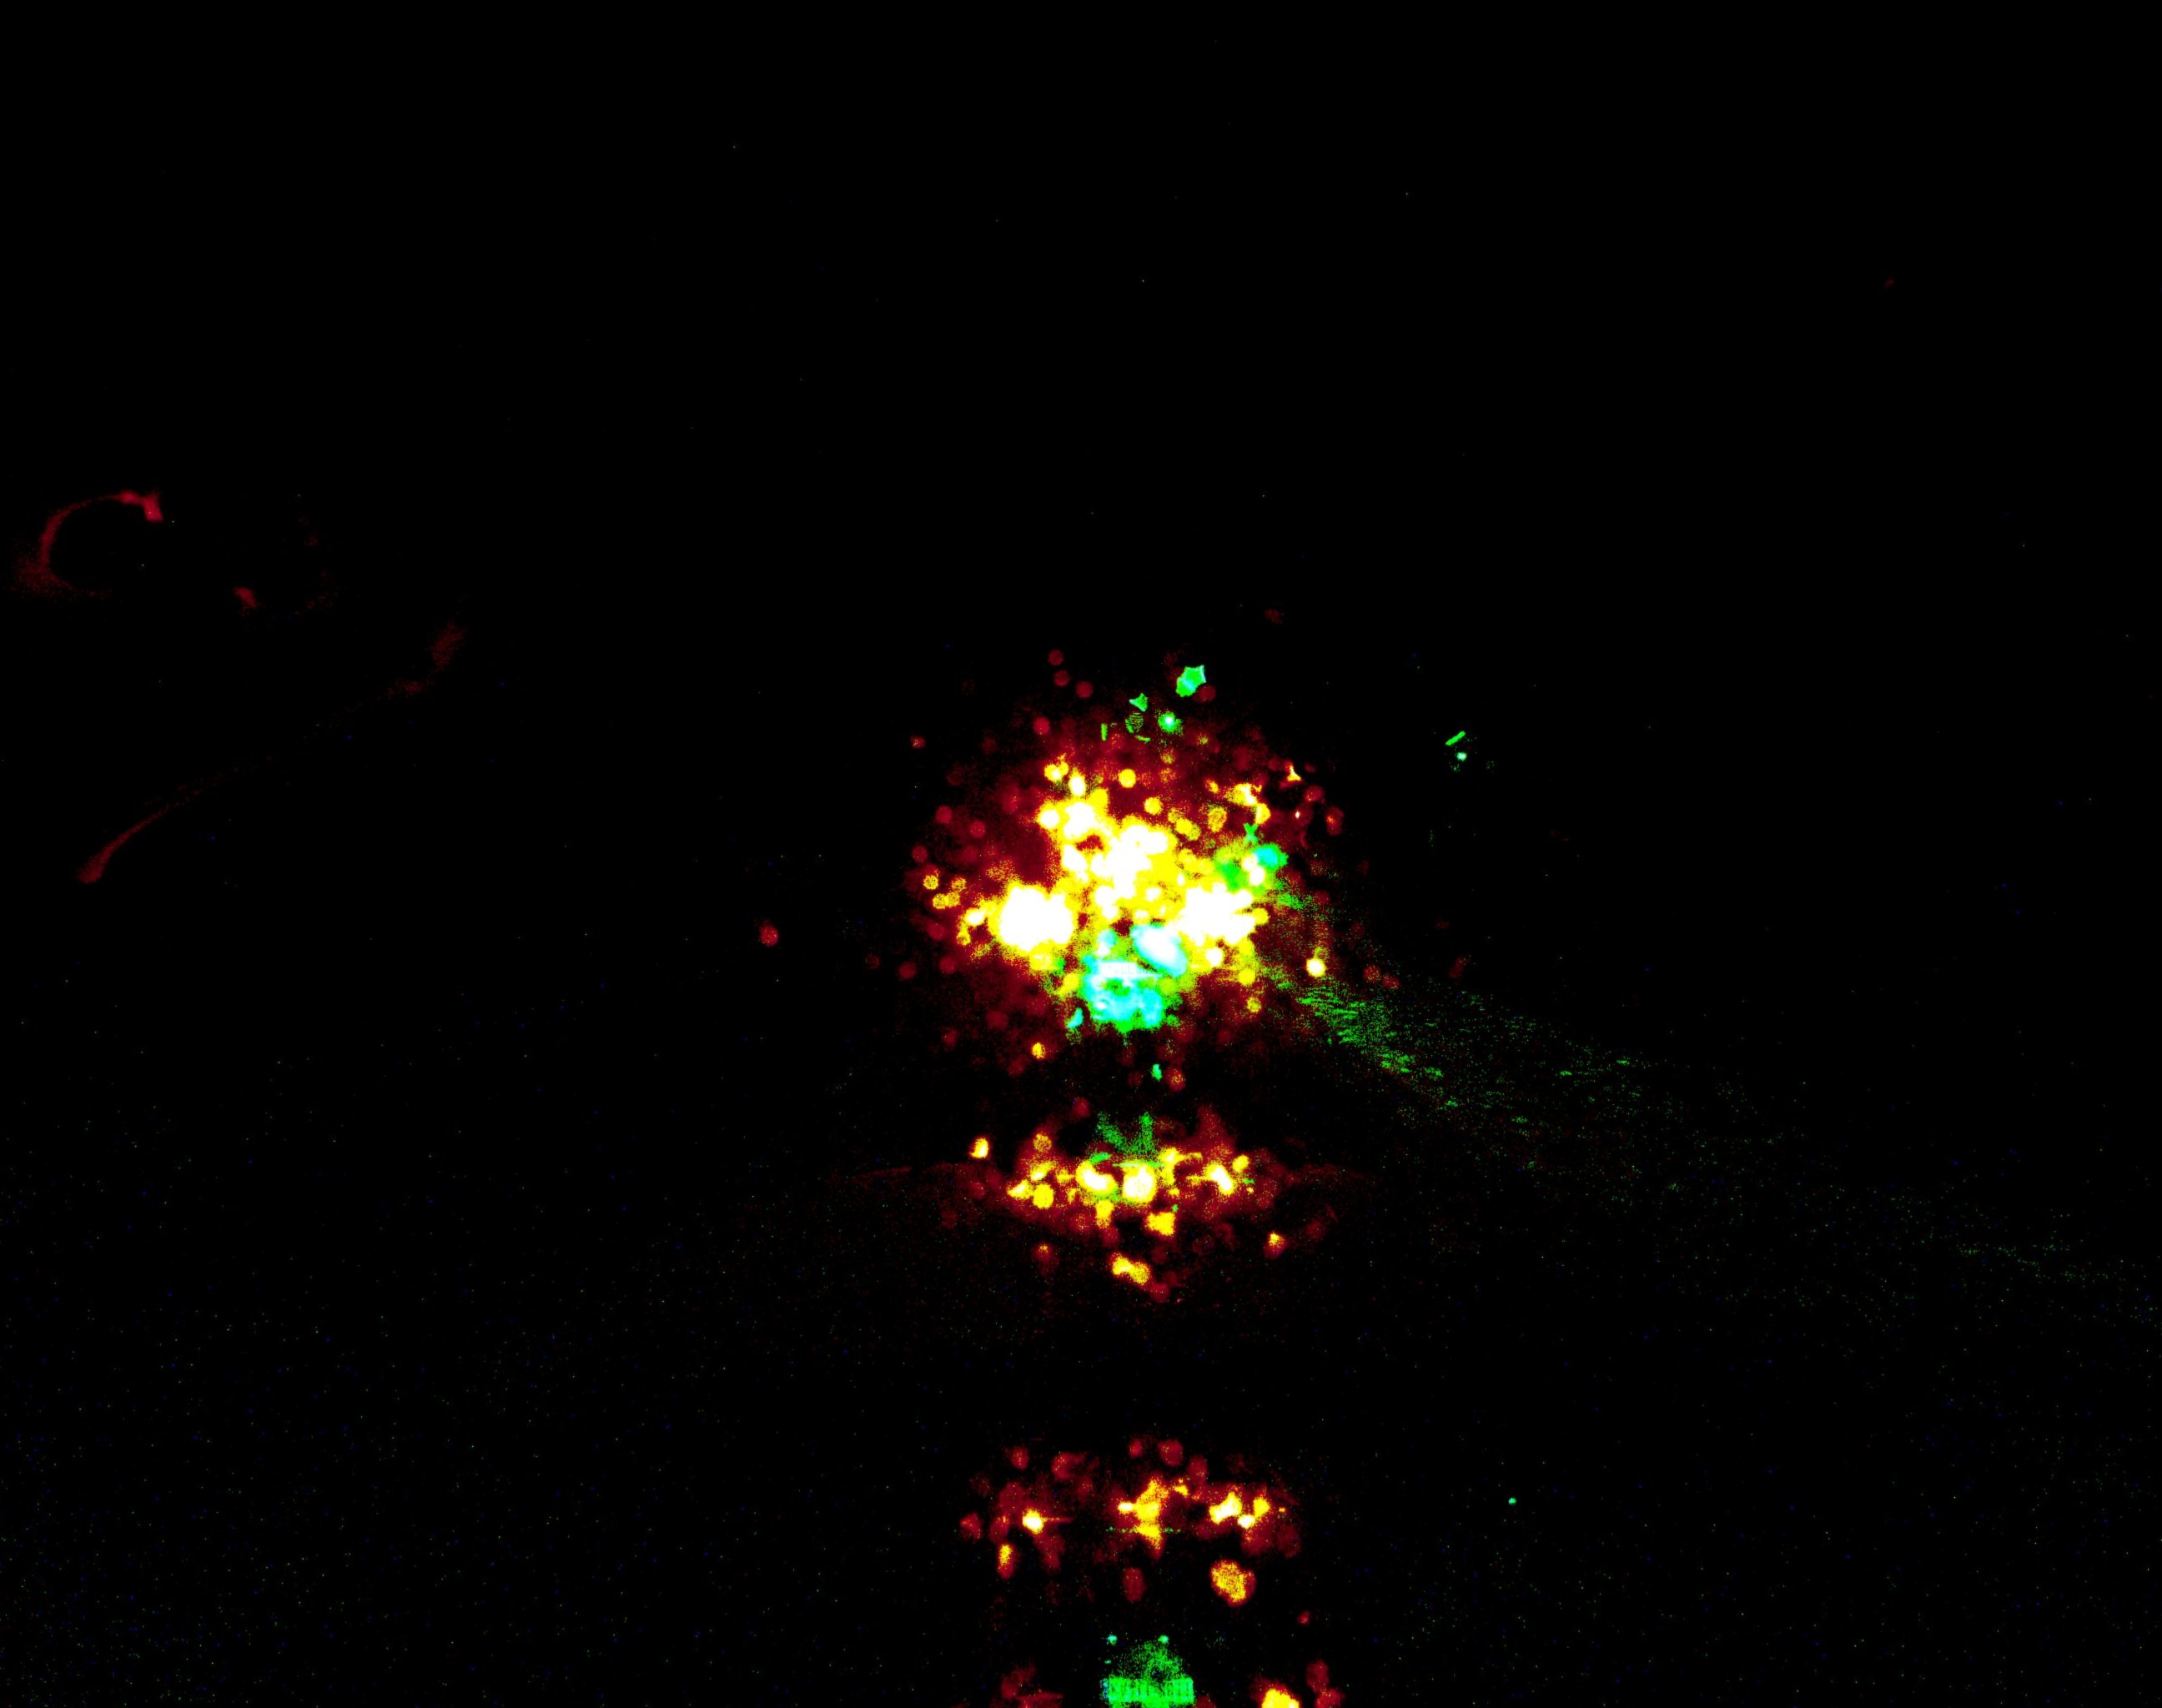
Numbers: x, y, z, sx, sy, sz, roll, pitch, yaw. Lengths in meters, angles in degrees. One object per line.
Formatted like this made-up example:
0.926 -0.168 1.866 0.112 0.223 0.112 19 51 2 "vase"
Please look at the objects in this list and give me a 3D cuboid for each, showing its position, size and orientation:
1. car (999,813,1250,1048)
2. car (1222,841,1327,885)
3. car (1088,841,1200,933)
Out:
0.425 0.529 7.905 1.783 1.681 3.908 -2 1 3 "car"
9.251 0.454 39.001 4.651 1.793 2.008 -4 -2 15 "car"
1.192 0.504 15.038 1.735 1.415 4.006 -2 0 5 "car"
